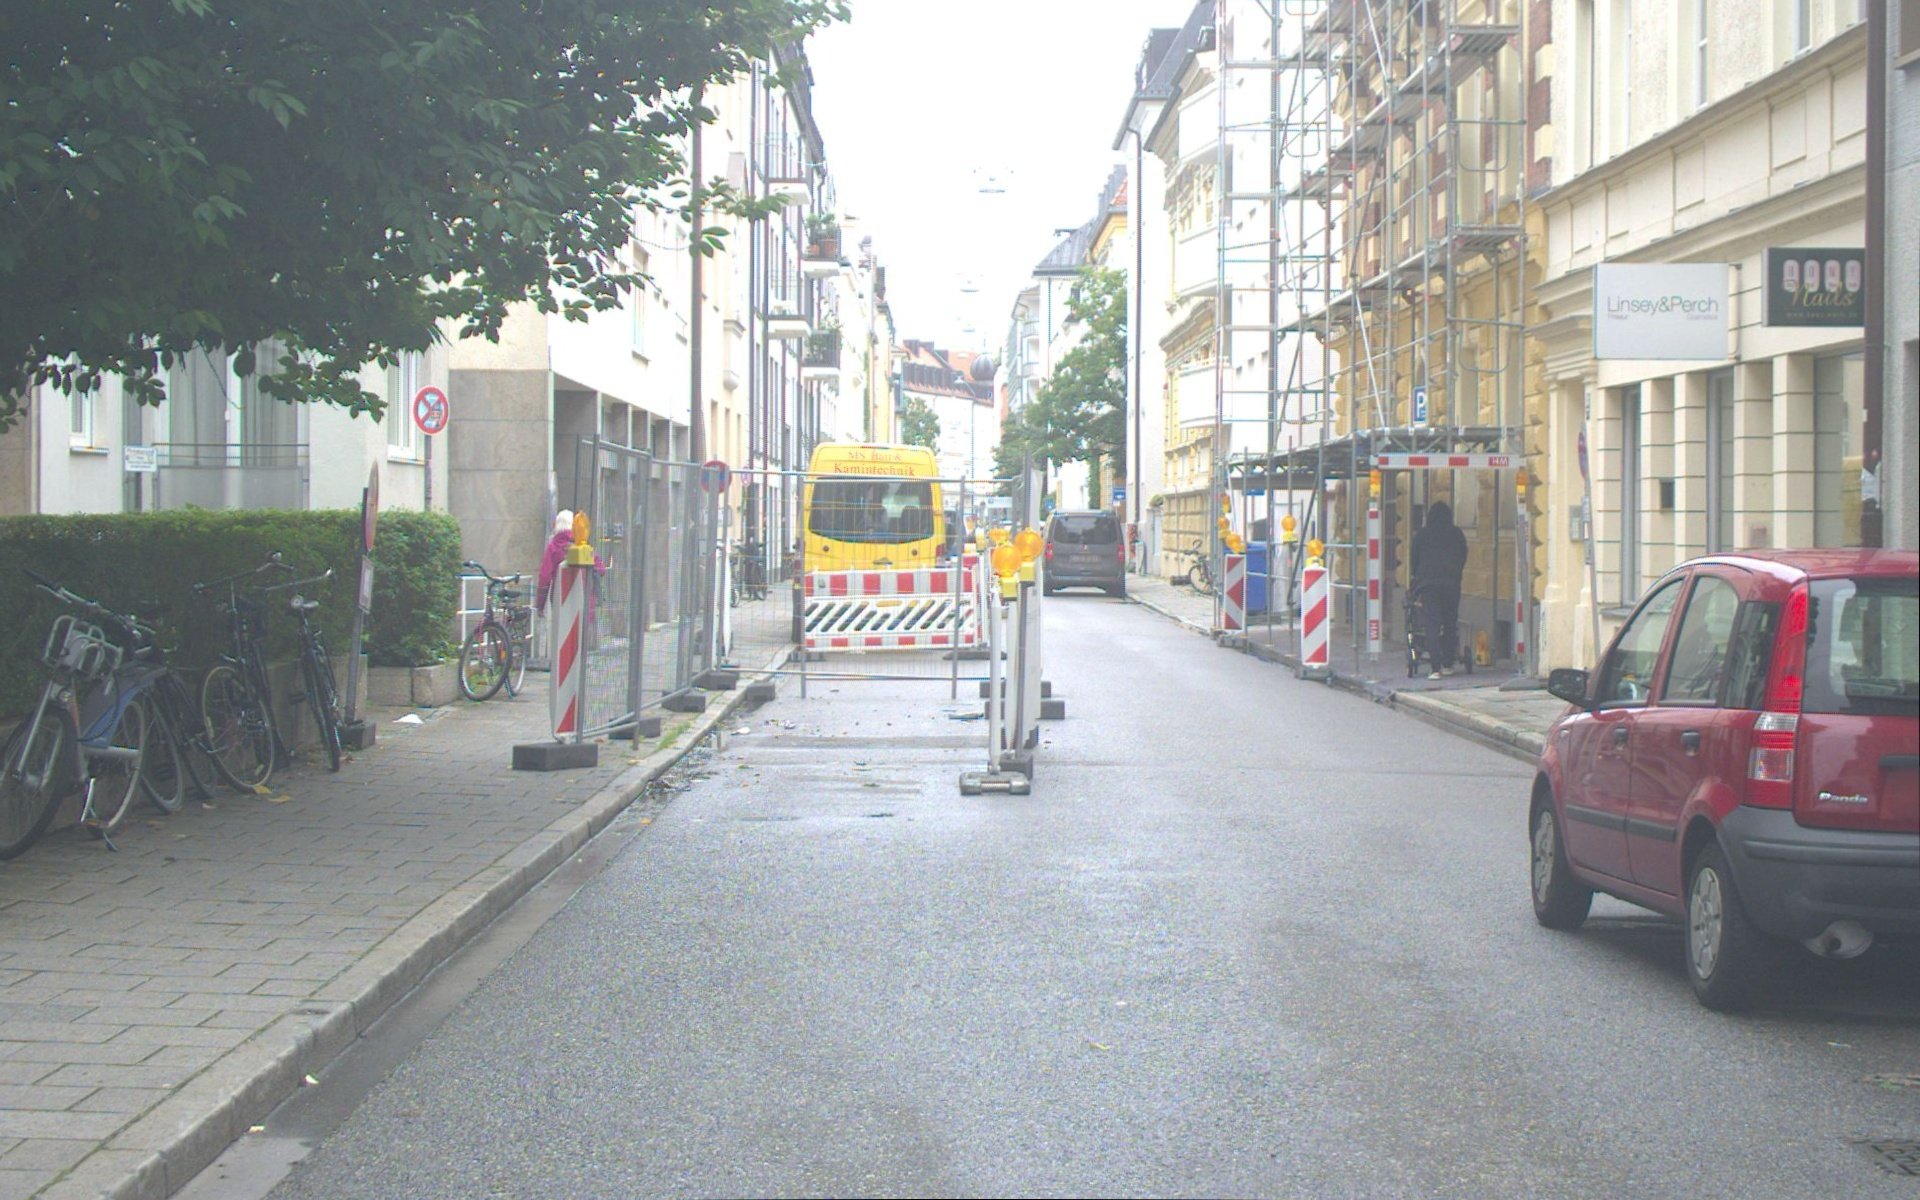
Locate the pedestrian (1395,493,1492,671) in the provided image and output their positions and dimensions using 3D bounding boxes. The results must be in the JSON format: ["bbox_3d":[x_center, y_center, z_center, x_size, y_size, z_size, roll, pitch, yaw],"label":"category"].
[{"bbox_3d":[4.899,-0.189,34.876,0.729,1.746,0.988,-3,1,-1],"label":"pedestrian"}]

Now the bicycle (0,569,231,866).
[{"bbox_3d":[-3.533,0.460,14.446,0.488,1.147,1.699,3,0,1],"label":"bicycle"}]

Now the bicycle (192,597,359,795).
[{"bbox_3d":[-3.658,0.488,18.474,0.443,0.975,1.853,3,0,1],"label":"bicycle"}]

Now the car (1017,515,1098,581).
[{"bbox_3d":[2.487,-1.363,88.673,1.894,1.635,4.322,0,1,-1],"label":"car"}]

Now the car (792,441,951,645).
[{"bbox_3d":[-1.180,-0.796,46.751,1.993,2.570,6.737,0,1,-1],"label":"car"}]

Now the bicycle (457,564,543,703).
[{"bbox_3d":[-3.774,0.259,28.280,0.377,1.059,1.597,6,1,0],"label":"bicycle"}]

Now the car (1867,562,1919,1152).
[{"bbox_3d":[3.257,0.711,6.826,1.768,1.456,4.380,2,1,1],"label":"car"}]

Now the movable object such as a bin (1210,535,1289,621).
[{"bbox_3d":[4.753,-0.366,56.355,1.087,1.341,1.317,-2,1,12],"label":"movable object such as a bin"}]

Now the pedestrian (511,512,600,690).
[{"bbox_3d":[-3.543,0.001,30.155,0.638,1.526,0.747,-1,1,2],"label":"pedestrian"}]

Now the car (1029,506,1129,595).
[{"bbox_3d":[2.692,-1.153,78.727,1.993,1.925,4.660,2,1,-1],"label":"car"}]

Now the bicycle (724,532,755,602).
[{"bbox_3d":[-3.962,-0.607,61.670,0.381,1.184,2.136,1,2,-8],"label":"bicycle"}]

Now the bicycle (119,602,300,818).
[{"bbox_3d":[-3.670,0.515,16.913,0.436,0.975,1.699,3,0,1],"label":"bicycle"}]

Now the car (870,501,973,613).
[{"bbox_3d":[-0.696,-0.790,61.853,1.727,1.891,5.509,-1,1,-1],"label":"car"}]

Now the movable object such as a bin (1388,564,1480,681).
[{"bbox_3d":[4.901,0.223,35.597,0.729,1.137,0.988,-4,1,-1],"label":"movable object such as a bin"}]

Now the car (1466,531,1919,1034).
[{"bbox_3d":[3.029,0.543,12.677,1.772,1.519,4.066,2,1,2],"label":"car"}]

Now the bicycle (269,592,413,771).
[{"bbox_3d":[-3.643,0.458,20.340,0.443,0.975,1.816,3,0,1],"label":"bicycle"}]

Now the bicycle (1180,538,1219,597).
[{"bbox_3d":[5.006,-0.690,71.868,0.638,1.149,1.915,-2,2,0],"label":"bicycle"}]
